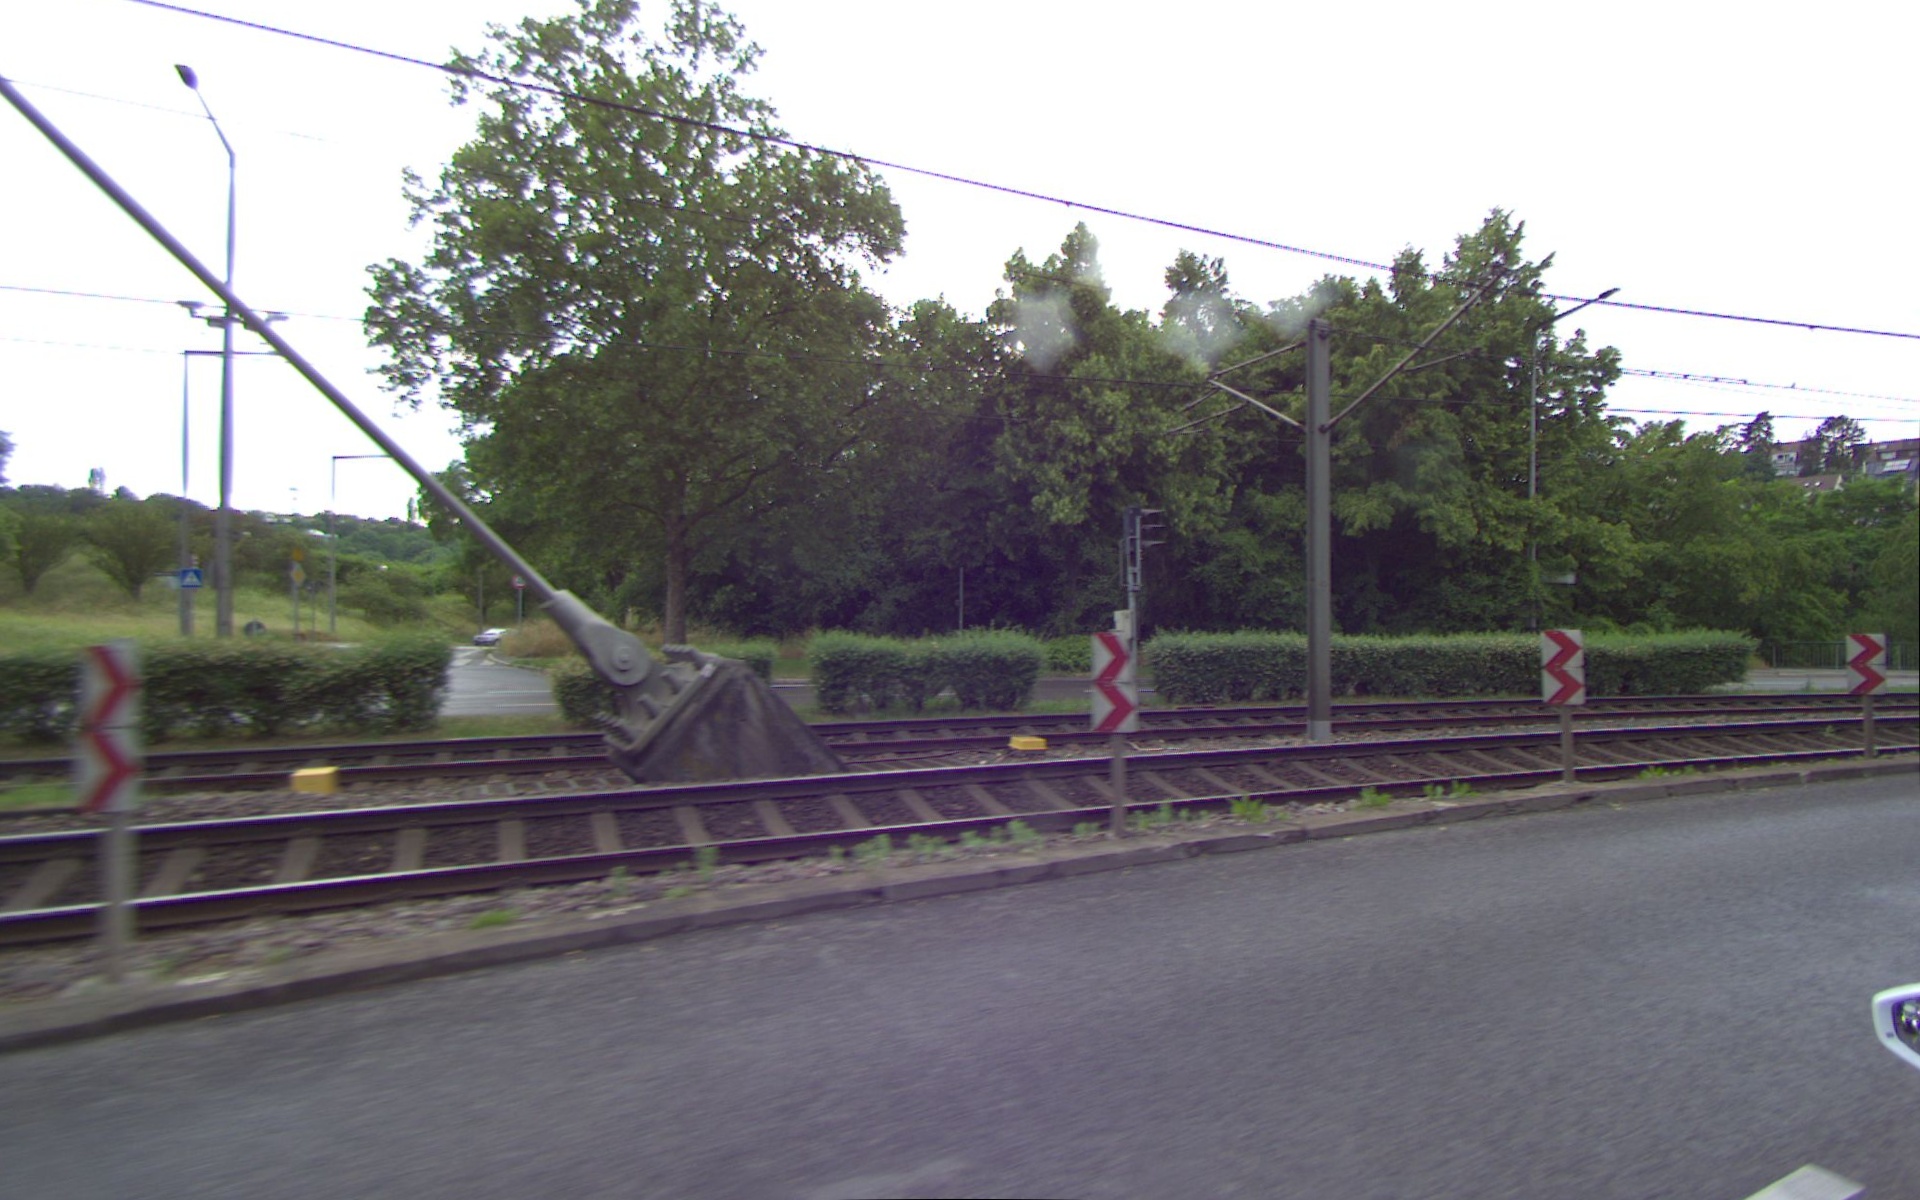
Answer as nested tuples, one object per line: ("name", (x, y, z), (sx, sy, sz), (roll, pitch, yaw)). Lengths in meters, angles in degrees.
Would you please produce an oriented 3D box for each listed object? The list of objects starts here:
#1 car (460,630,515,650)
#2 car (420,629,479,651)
("car", (-36.137, 3.008, 76.918), (1.849, 1.386, 4.003), (2, -1, 8))
("car", (-36.687, 2.853, 72.245), (1.849, 1.386, 4.002), (2, -1, 7))
